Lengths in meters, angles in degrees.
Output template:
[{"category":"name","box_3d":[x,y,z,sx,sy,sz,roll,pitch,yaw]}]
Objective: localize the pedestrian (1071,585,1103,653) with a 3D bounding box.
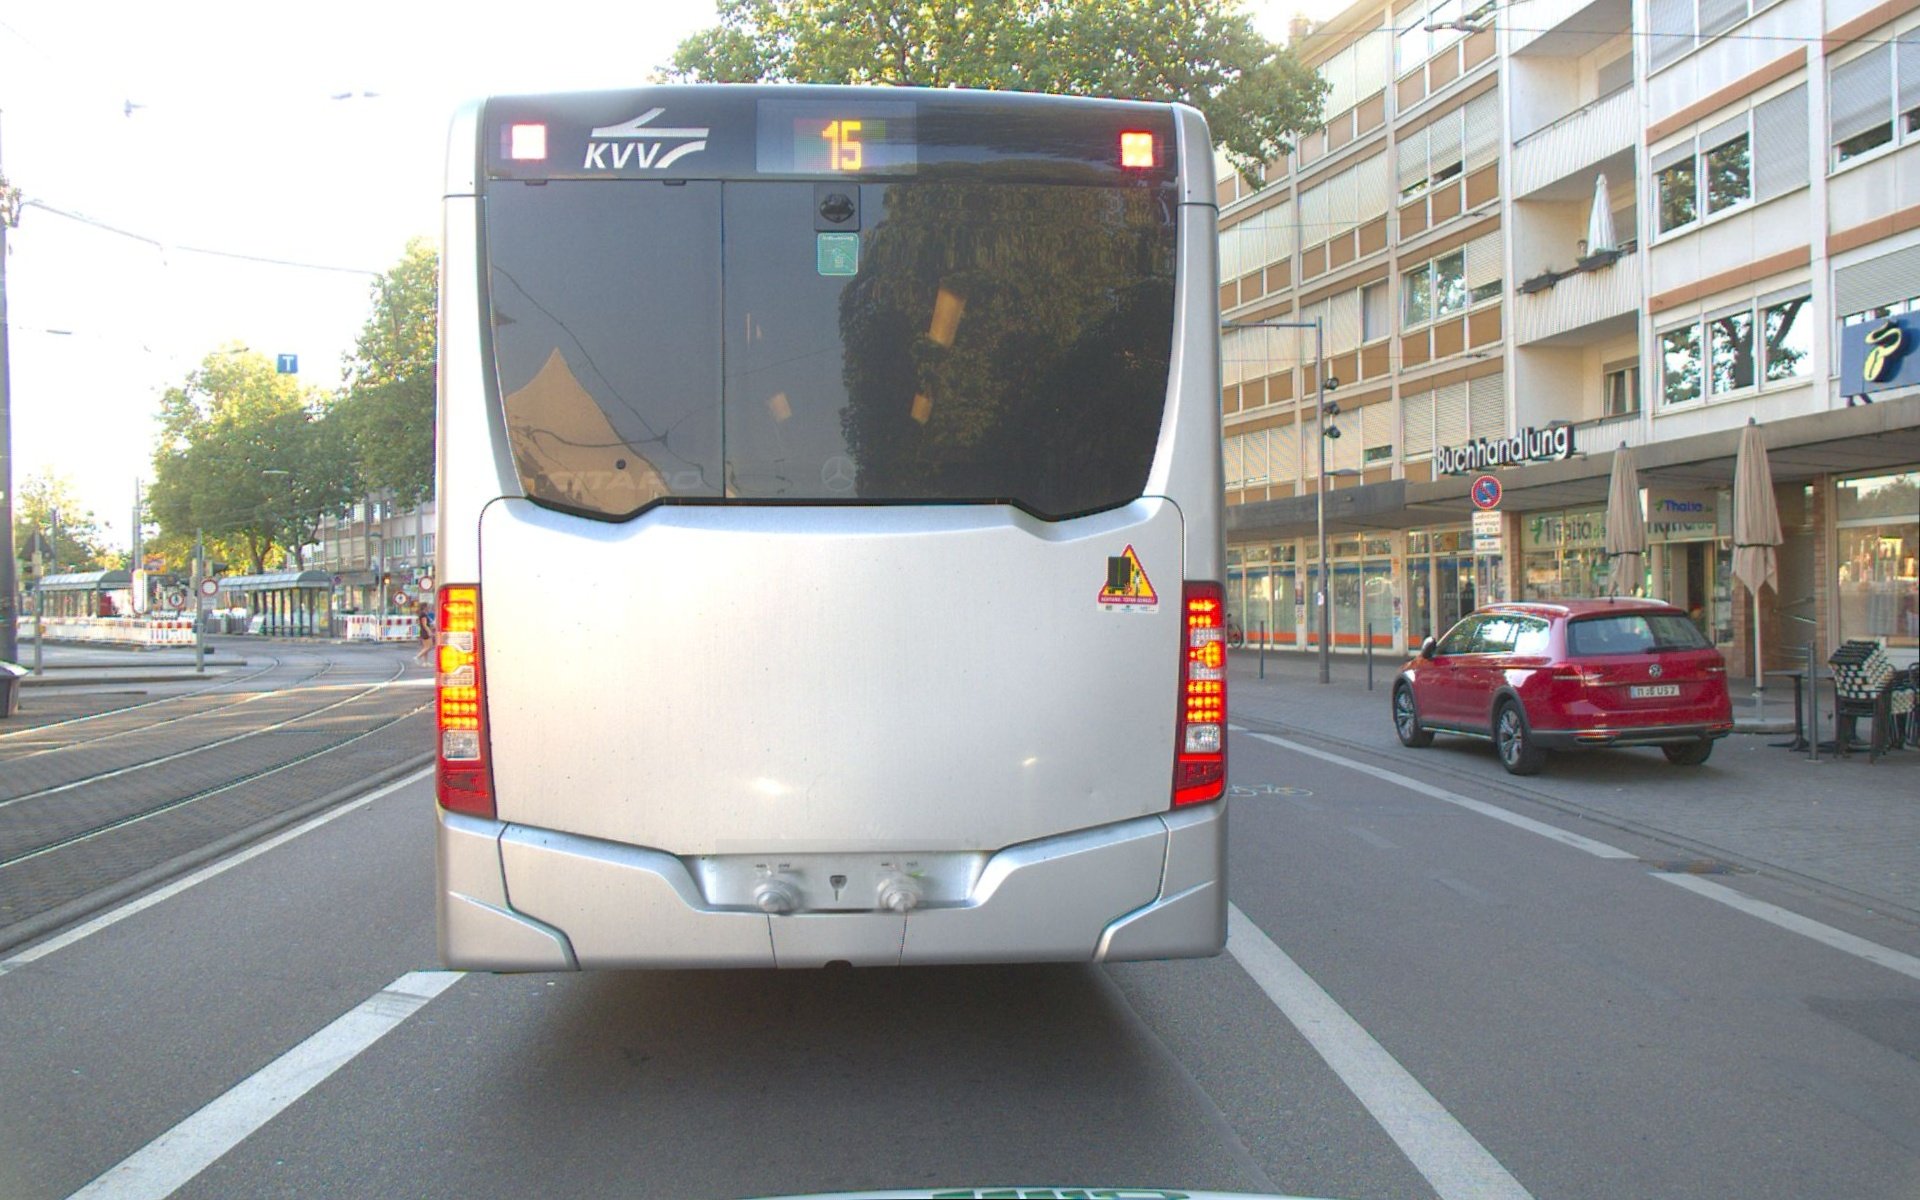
[{"category":"pedestrian","box_3d":[3.279,0.483,42.774,0.634,1.747,0.557,-1,0,-17]}]

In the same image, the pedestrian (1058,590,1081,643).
[{"category":"pedestrian","box_3d":[3.494,0.530,52.917,0.527,1.677,0.612,-1,0,-18]}]

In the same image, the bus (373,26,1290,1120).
[{"category":"bus","box_3d":[-0.432,-0.062,9.689,2.577,3.081,9.995,0,0,-1]}]

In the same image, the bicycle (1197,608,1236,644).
[{"category":"bicycle","box_3d":[7.102,0.713,45.865,0.406,0.961,1.431,-1,0,-20]}]

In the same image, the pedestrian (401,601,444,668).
[{"category":"pedestrian","box_3d":[-14.011,0.903,43.131,0.977,1.716,0.642,0,-2,-13]}]

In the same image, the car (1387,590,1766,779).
[{"category":"car","box_3d":[5.702,0.703,15.938,1.735,1.508,4.299,-2,0,-4]}]

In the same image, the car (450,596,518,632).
[{"category":"car","box_3d":[-25.292,0.736,87.815,1.982,1.823,3.940,1,-1,-41]}]
